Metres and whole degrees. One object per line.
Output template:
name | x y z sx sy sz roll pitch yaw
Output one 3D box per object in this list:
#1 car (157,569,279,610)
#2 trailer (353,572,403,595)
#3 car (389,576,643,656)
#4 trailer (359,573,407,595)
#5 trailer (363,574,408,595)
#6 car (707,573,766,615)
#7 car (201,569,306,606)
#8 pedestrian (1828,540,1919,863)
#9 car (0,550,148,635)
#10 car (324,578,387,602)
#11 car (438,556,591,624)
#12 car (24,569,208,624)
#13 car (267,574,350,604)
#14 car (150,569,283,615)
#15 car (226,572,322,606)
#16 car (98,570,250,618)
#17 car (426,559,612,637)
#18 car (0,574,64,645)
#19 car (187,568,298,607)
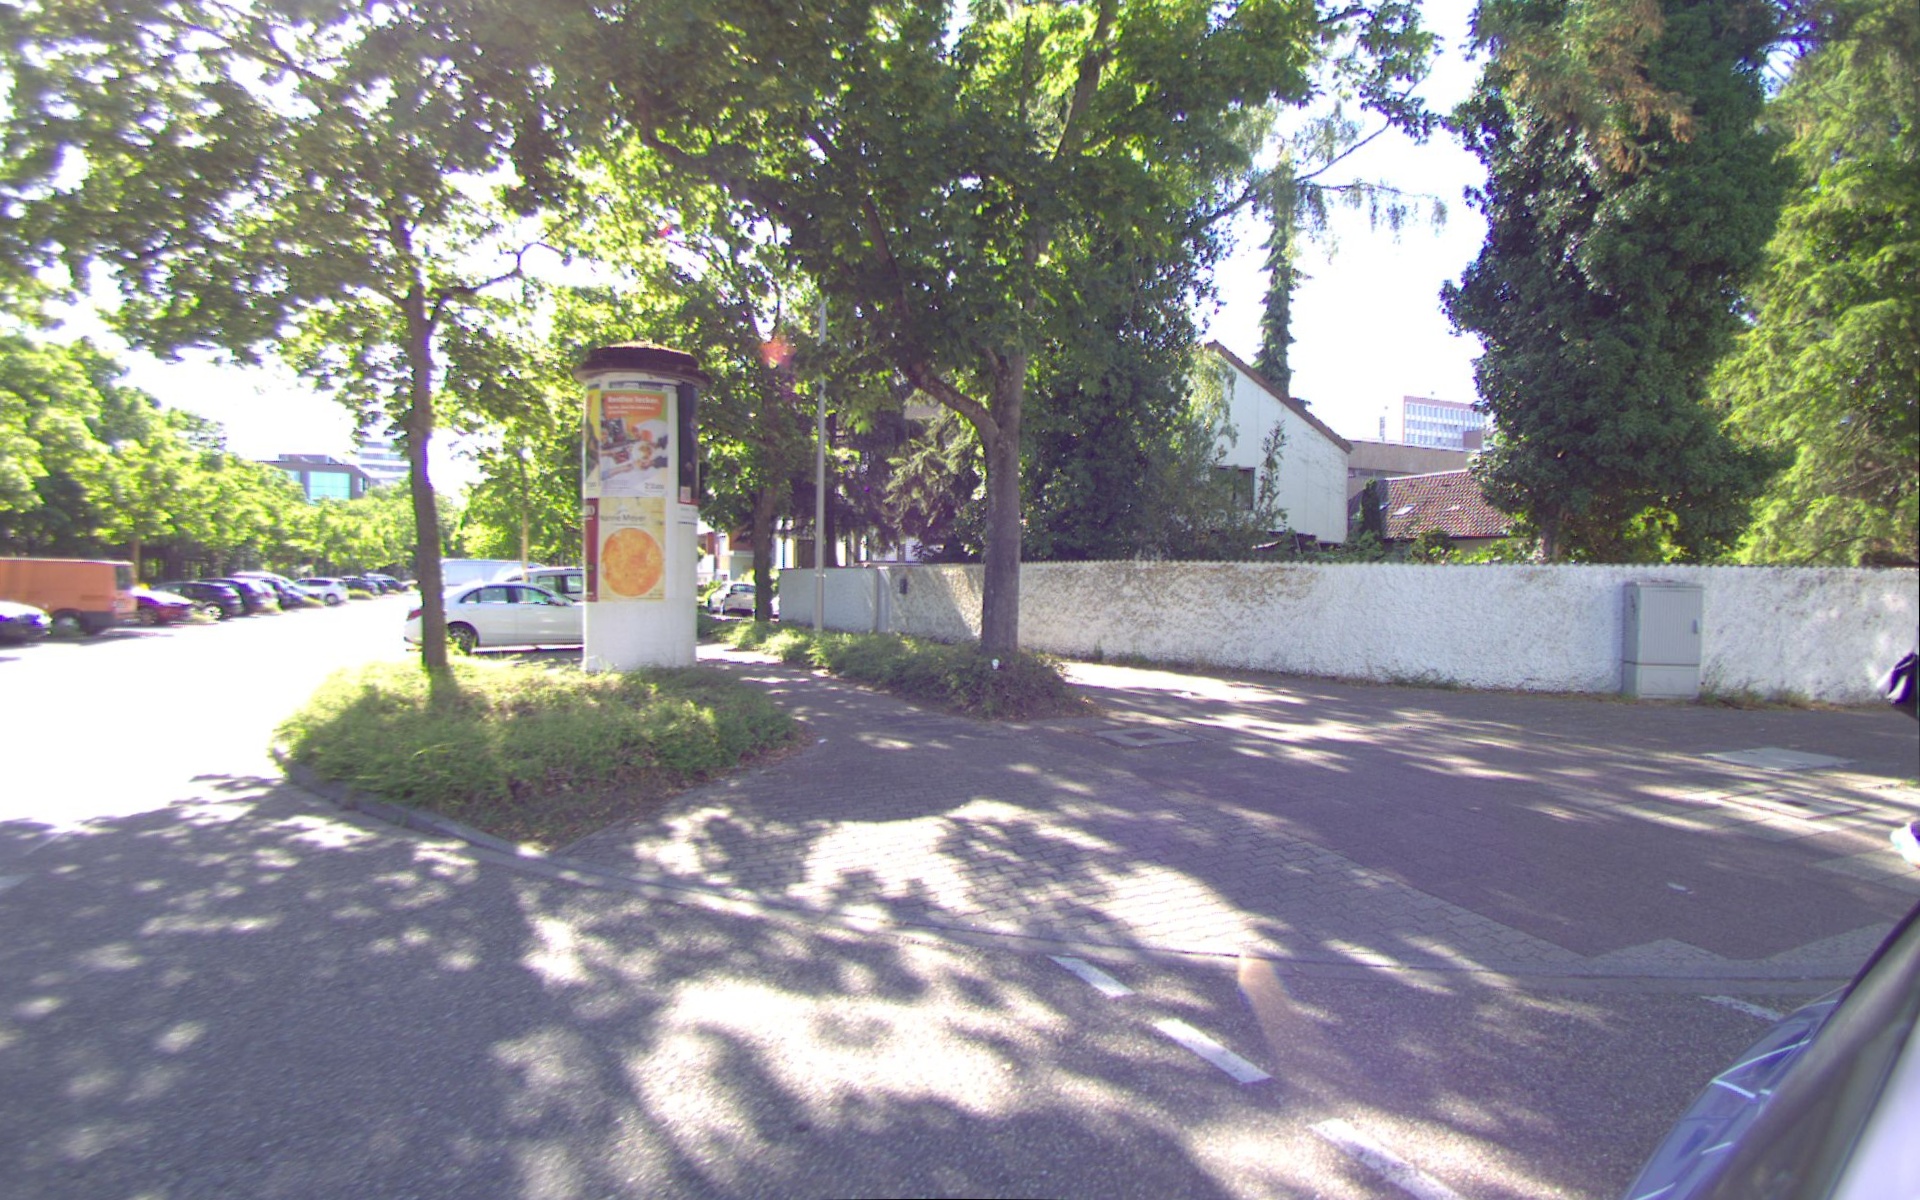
car | -33.899 -0.483 46.396 4.172 1.737 1.978 2 1 -26
trailer | -53.730 -1.495 93.414 3.921 2.039 2.001 1 0 -32
car | -9.095 0.264 21.017 4.591 1.423 1.833 -2 2 -23
trailer | -55.825 -1.524 97.928 3.921 2.039 2.001 1 0 -32
trailer | -58.852 -1.565 103.621 3.921 2.039 2.001 1 0 -32
car | -9.498 -0.299 42.777 1.797 1.634 4.153 2 1 -20
car | -36.751 -0.654 52.743 4.172 1.737 1.978 2 1 -26
pedestrian | 5.478 0.543 5.476 0.821 1.706 0.809 2 0 -11
car | -23.902 -0.213 26.140 4.172 2.057 1.978 2 1 -26
car | -48.951 -0.792 82.036 4.172 1.737 1.978 2 1 -26
car | -16.527 -0.346 37.667 5.029 2.409 2.003 1 0 -25
car | -27.124 -0.112 32.733 4.172 1.591 1.978 2 1 -26
car | -41.053 -0.674 63.902 4.172 1.737 1.978 2 1 -26
car | -31.194 -0.335 42.603 4.172 1.775 1.978 2 1 -26
car | -38.477 -0.636 56.874 4.172 1.737 1.978 2 1 -26
car | -29.586 -0.217 38.265 4.172 1.634 1.978 2 1 -26
car | -12.161 -0.027 28.052 4.540 2.016 2.003 1 0 -25
car | -22.172 0.155 21.961 3.709 1.492 1.772 2 1 -26
car | -35.551 -0.633 50.279 4.172 1.737 1.978 2 1 -26
